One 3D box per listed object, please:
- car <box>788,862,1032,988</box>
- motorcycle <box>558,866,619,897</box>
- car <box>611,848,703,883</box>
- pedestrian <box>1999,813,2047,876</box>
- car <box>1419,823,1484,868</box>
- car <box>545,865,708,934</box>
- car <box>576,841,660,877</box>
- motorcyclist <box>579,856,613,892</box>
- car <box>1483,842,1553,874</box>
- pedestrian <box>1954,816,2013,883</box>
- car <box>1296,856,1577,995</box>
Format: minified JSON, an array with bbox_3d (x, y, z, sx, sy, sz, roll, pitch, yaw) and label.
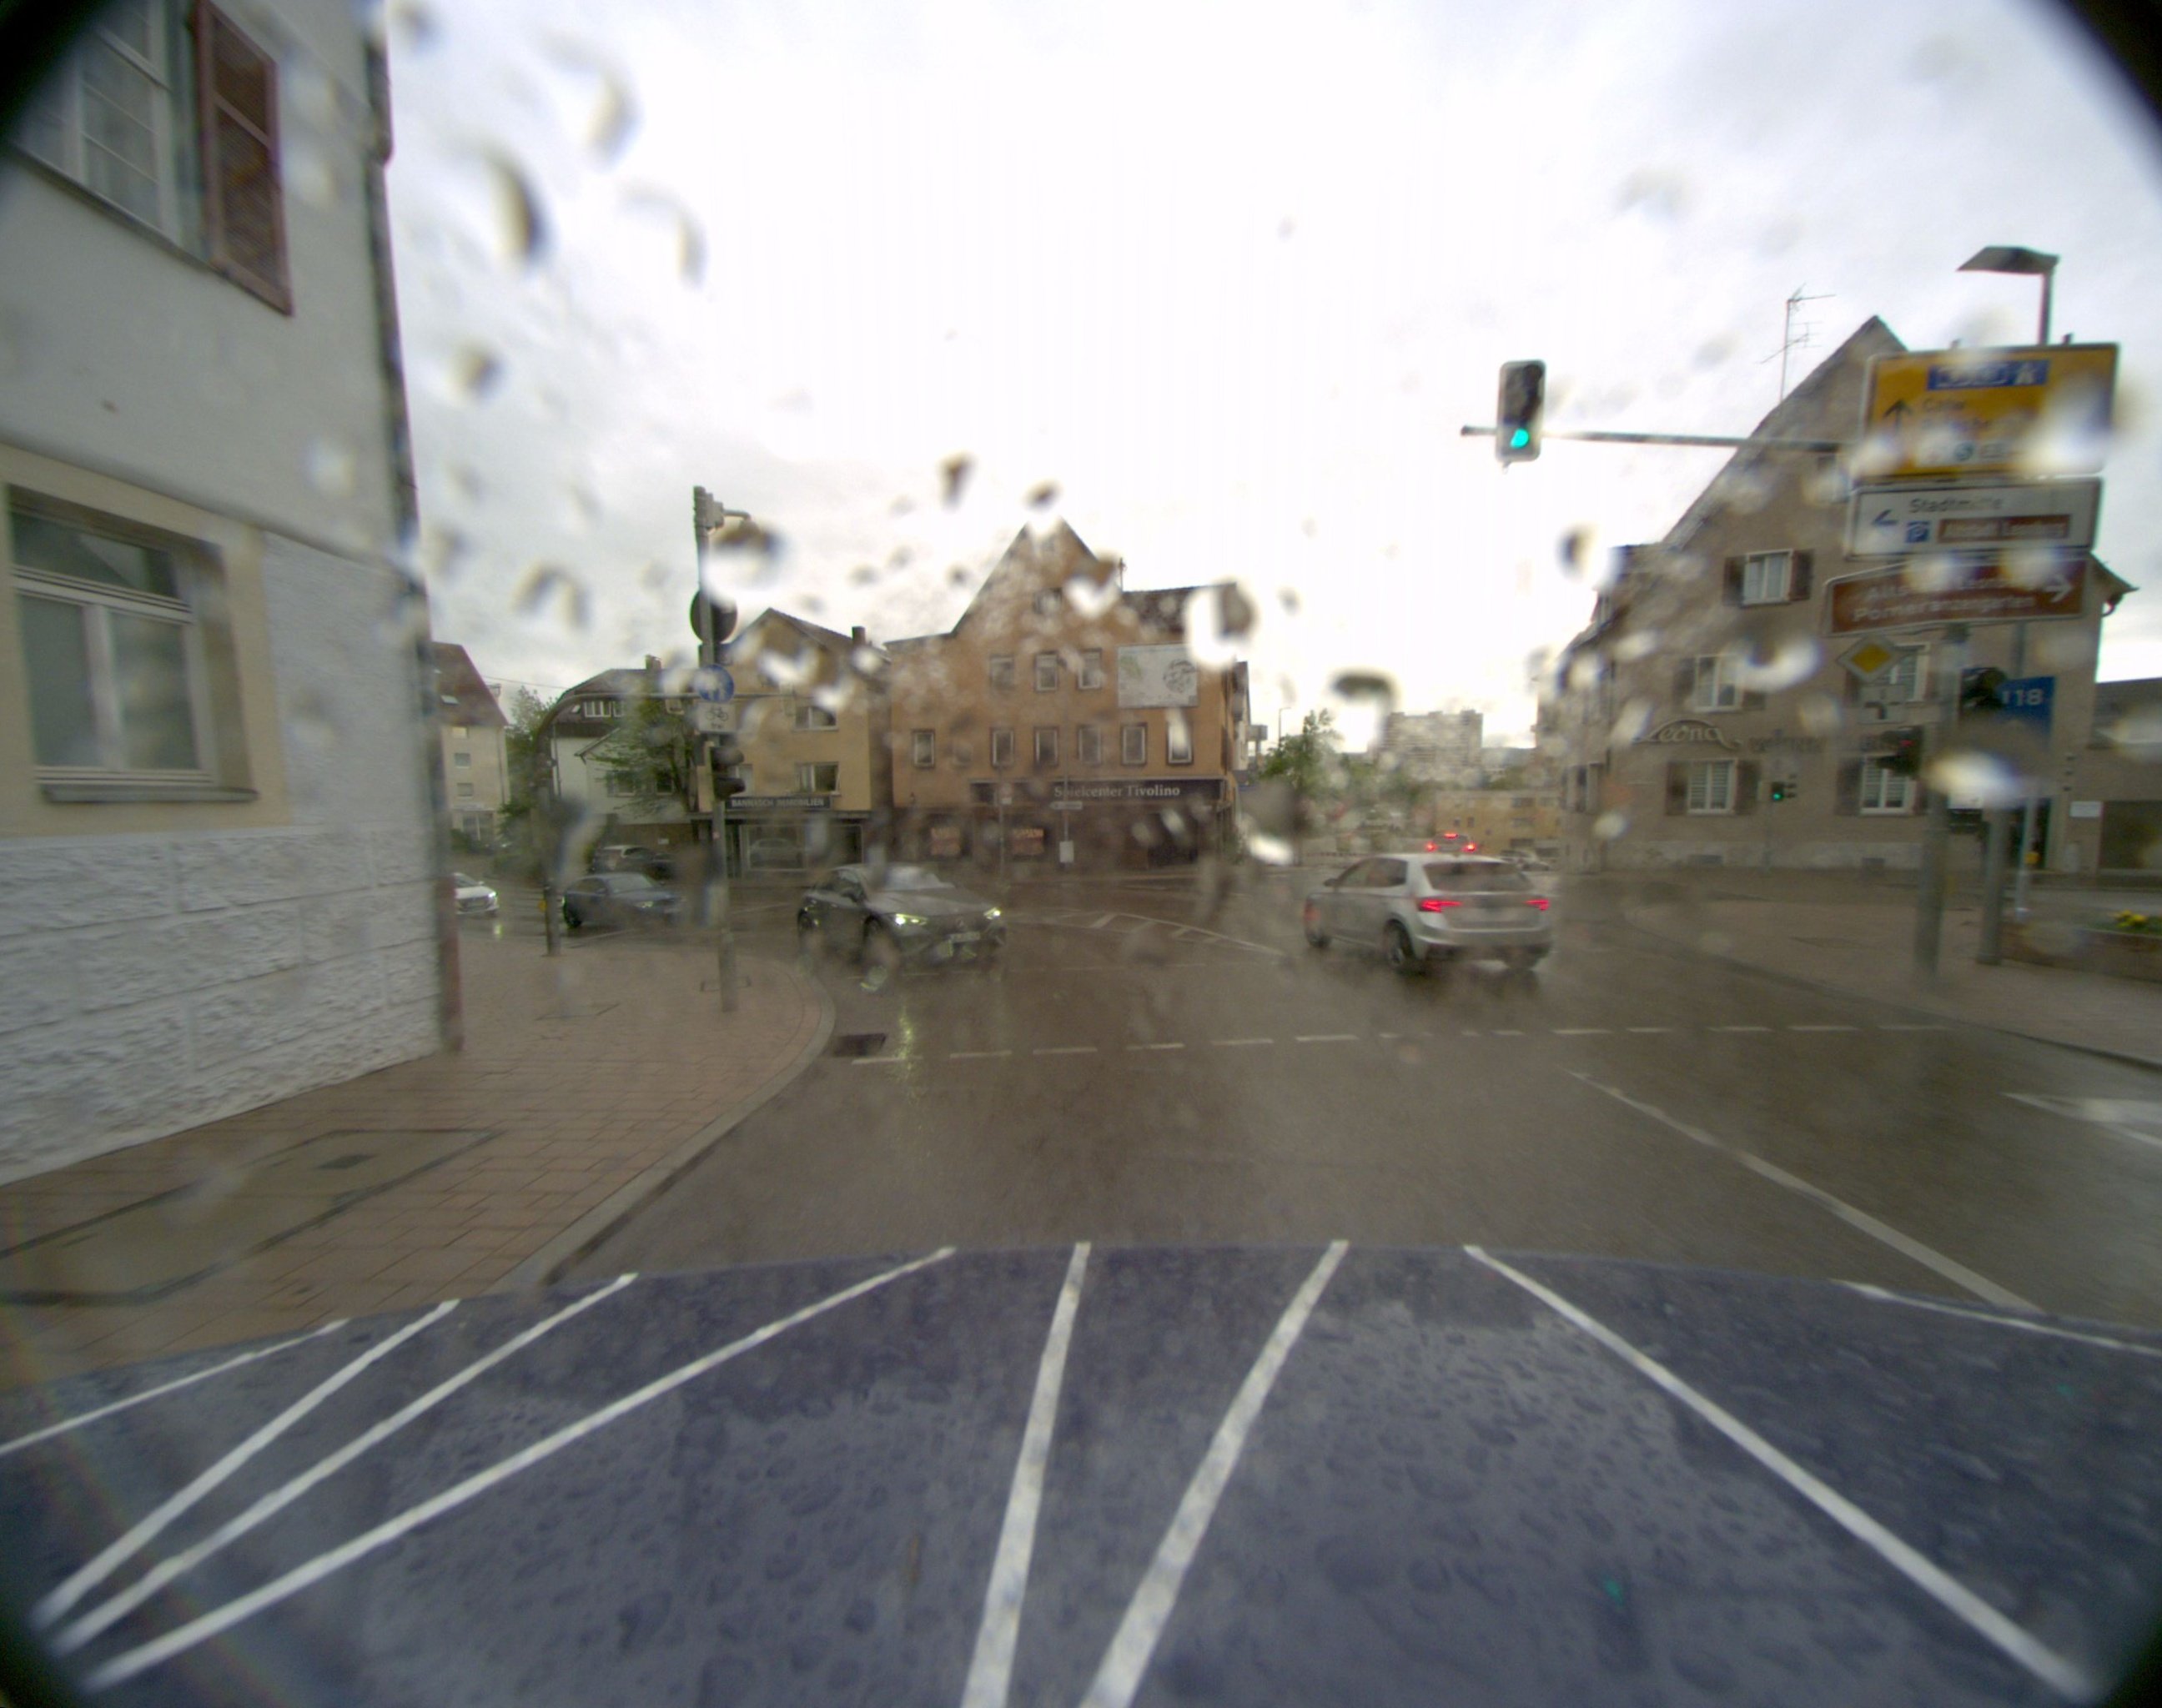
[{"bbox_3d":[-2.882,0.940,12.081,2.003,1.485,4.302,-5,3,-39],"label":"car"},{"bbox_3d":[-19.758,1.092,30.522,1.914,1.125,0.771,-1,4,5],"label":"motorcycle"},{"bbox_3d":[-21.683,0.550,39.047,1.896,1.446,4.001,0,4,12],"label":"car"},{"bbox_3d":[26.182,-0.283,21.131,0.536,1.720,0.556,2,6,24],"label":"pedestrian"},{"bbox_3d":[14.765,-0.409,30.143,1.994,1.530,4.420,1,4,30],"label":"car"},{"bbox_3d":[-12.684,1.231,21.172,4.366,1.525,1.776,-2,6,29],"label":"car"},{"bbox_3d":[-24.625,0.224,40.580,1.998,1.620,3.643,-1,4,3],"label":"car"},{"bbox_3d":[-19.423,0.801,30.430,0.667,1.347,0.811,-3,5,5],"label":"motorcyclist"},{"bbox_3d":[23.332,0.178,40.505,4.007,1.423,1.994,-4,5,-41],"label":"car"},{"bbox_3d":[25.405,-0.136,21.396,0.714,1.820,0.798,-2,1,0],"label":"pedestrian"},{"bbox_3d":[4.404,0.770,10.134,1.667,1.419,3.869,-1,1,-5],"label":"car"}]
